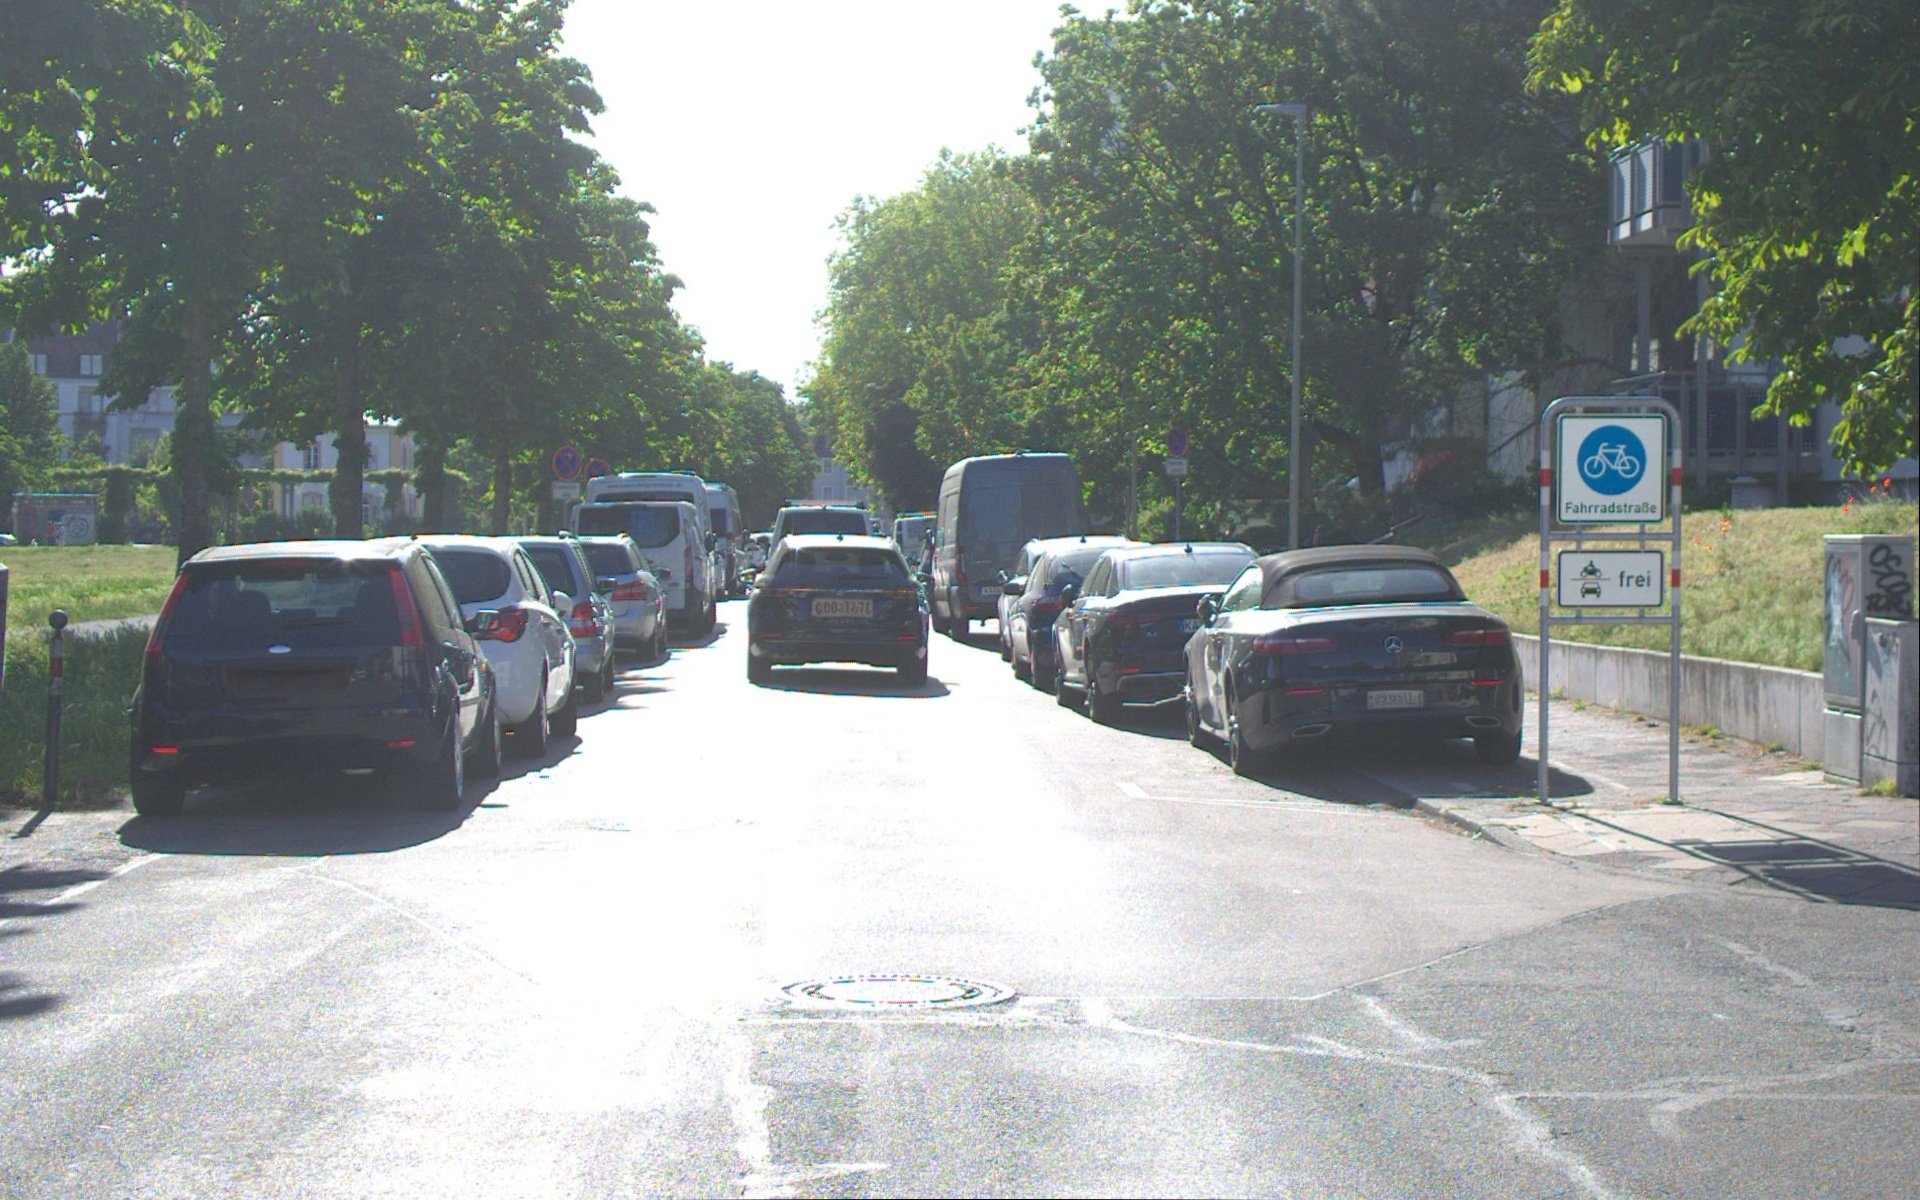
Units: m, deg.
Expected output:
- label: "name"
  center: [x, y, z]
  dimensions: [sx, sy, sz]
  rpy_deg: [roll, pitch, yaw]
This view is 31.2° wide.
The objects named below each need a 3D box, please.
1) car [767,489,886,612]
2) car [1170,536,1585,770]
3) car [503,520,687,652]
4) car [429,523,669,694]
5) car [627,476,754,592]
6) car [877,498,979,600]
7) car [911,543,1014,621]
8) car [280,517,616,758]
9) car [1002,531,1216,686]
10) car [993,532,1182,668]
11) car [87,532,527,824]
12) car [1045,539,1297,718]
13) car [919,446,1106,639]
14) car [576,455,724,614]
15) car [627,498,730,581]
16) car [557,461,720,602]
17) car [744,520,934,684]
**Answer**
- label: "car"
  center: [-2.230, -0.855, 58.255]
  dimensions: [1.894, 1.984, 4.010]
  rpy_deg: [-1, 1, -1]
- label: "car"
  center: [2.680, 0.280, 23.156]
  dimensions: [2.125, 1.333, 4.506]
  rpy_deg: [-2, 1, -1]
- label: "car"
  center: [-4.346, -0.208, 41.470]
  dimensions: [1.833, 1.494, 4.127]
  rpy_deg: [1, 1, -1]
- label: "car"
  center: [-3.714, 0.028, 31.687]
  dimensions: [1.779, 1.456, 4.127]
  rpy_deg: [1, 1, -1]
- label: "car"
  center: [-6.353, -1.585, 81.749]
  dimensions: [2.616, 2.636, 6.115]
  rpy_deg: [1, 1, -1]
- label: "car"
  center: [-0.790, -1.204, 80.117]
  dimensions: [2.162, 2.284, 5.266]
  rpy_deg: [0, 1, -3]
- label: "car"
  center: [0.022, -0.388, 69.246]
  dimensions: [1.988, 1.482, 4.127]
  rpy_deg: [1, 1, -1]
- label: "car"
  center: [-3.441, 0.210, 23.763]
  dimensions: [1.777, 1.490, 3.875]
  rpy_deg: [-1, 1, -1]
- label: "car"
  center: [1.476, 0.039, 35.455]
  dimensions: [1.779, 1.482, 4.032]
  rpy_deg: [0, 1, -3]
- label: "car"
  center: [1.445, -0.036, 40.515]
  dimensions: [1.988, 1.482, 4.127]
  rpy_deg: [1, 1, -1]
- label: "car"
  center: [-3.530, 0.371, 19.241]
  dimensions: [1.748, 1.420, 3.916]
  rpy_deg: [-2, 1, -1]
- label: "car"
  center: [1.711, 0.190, 29.086]
  dimensions: [1.779, 1.366, 4.127]
  rpy_deg: [1, 1, -1]
- label: "car"
  center: [0.702, -0.869, 50.596]
  dimensions: [2.162, 2.680, 5.417]
  rpy_deg: [0, 1, -5]
- label: "car"
  center: [-5.030, -1.087, 56.321]
  dimensions: [2.098, 2.487, 4.127]
  rpy_deg: [1, 1, -1]
- label: "car"
  center: [-6.195, -1.356, 76.092]
  dimensions: [2.010, 1.779, 4.127]
  rpy_deg: [0, 1, -1]
- label: "car"
  center: [-4.617, -1.001, 49.919]
  dimensions: [2.098, 1.936, 4.127]
  rpy_deg: [1, 1, -2]
- label: "car"
  center: [-1.198, -0.024, 35.054]
  dimensions: [1.779, 1.526, 4.000]
  rpy_deg: [2, 1, -1]
